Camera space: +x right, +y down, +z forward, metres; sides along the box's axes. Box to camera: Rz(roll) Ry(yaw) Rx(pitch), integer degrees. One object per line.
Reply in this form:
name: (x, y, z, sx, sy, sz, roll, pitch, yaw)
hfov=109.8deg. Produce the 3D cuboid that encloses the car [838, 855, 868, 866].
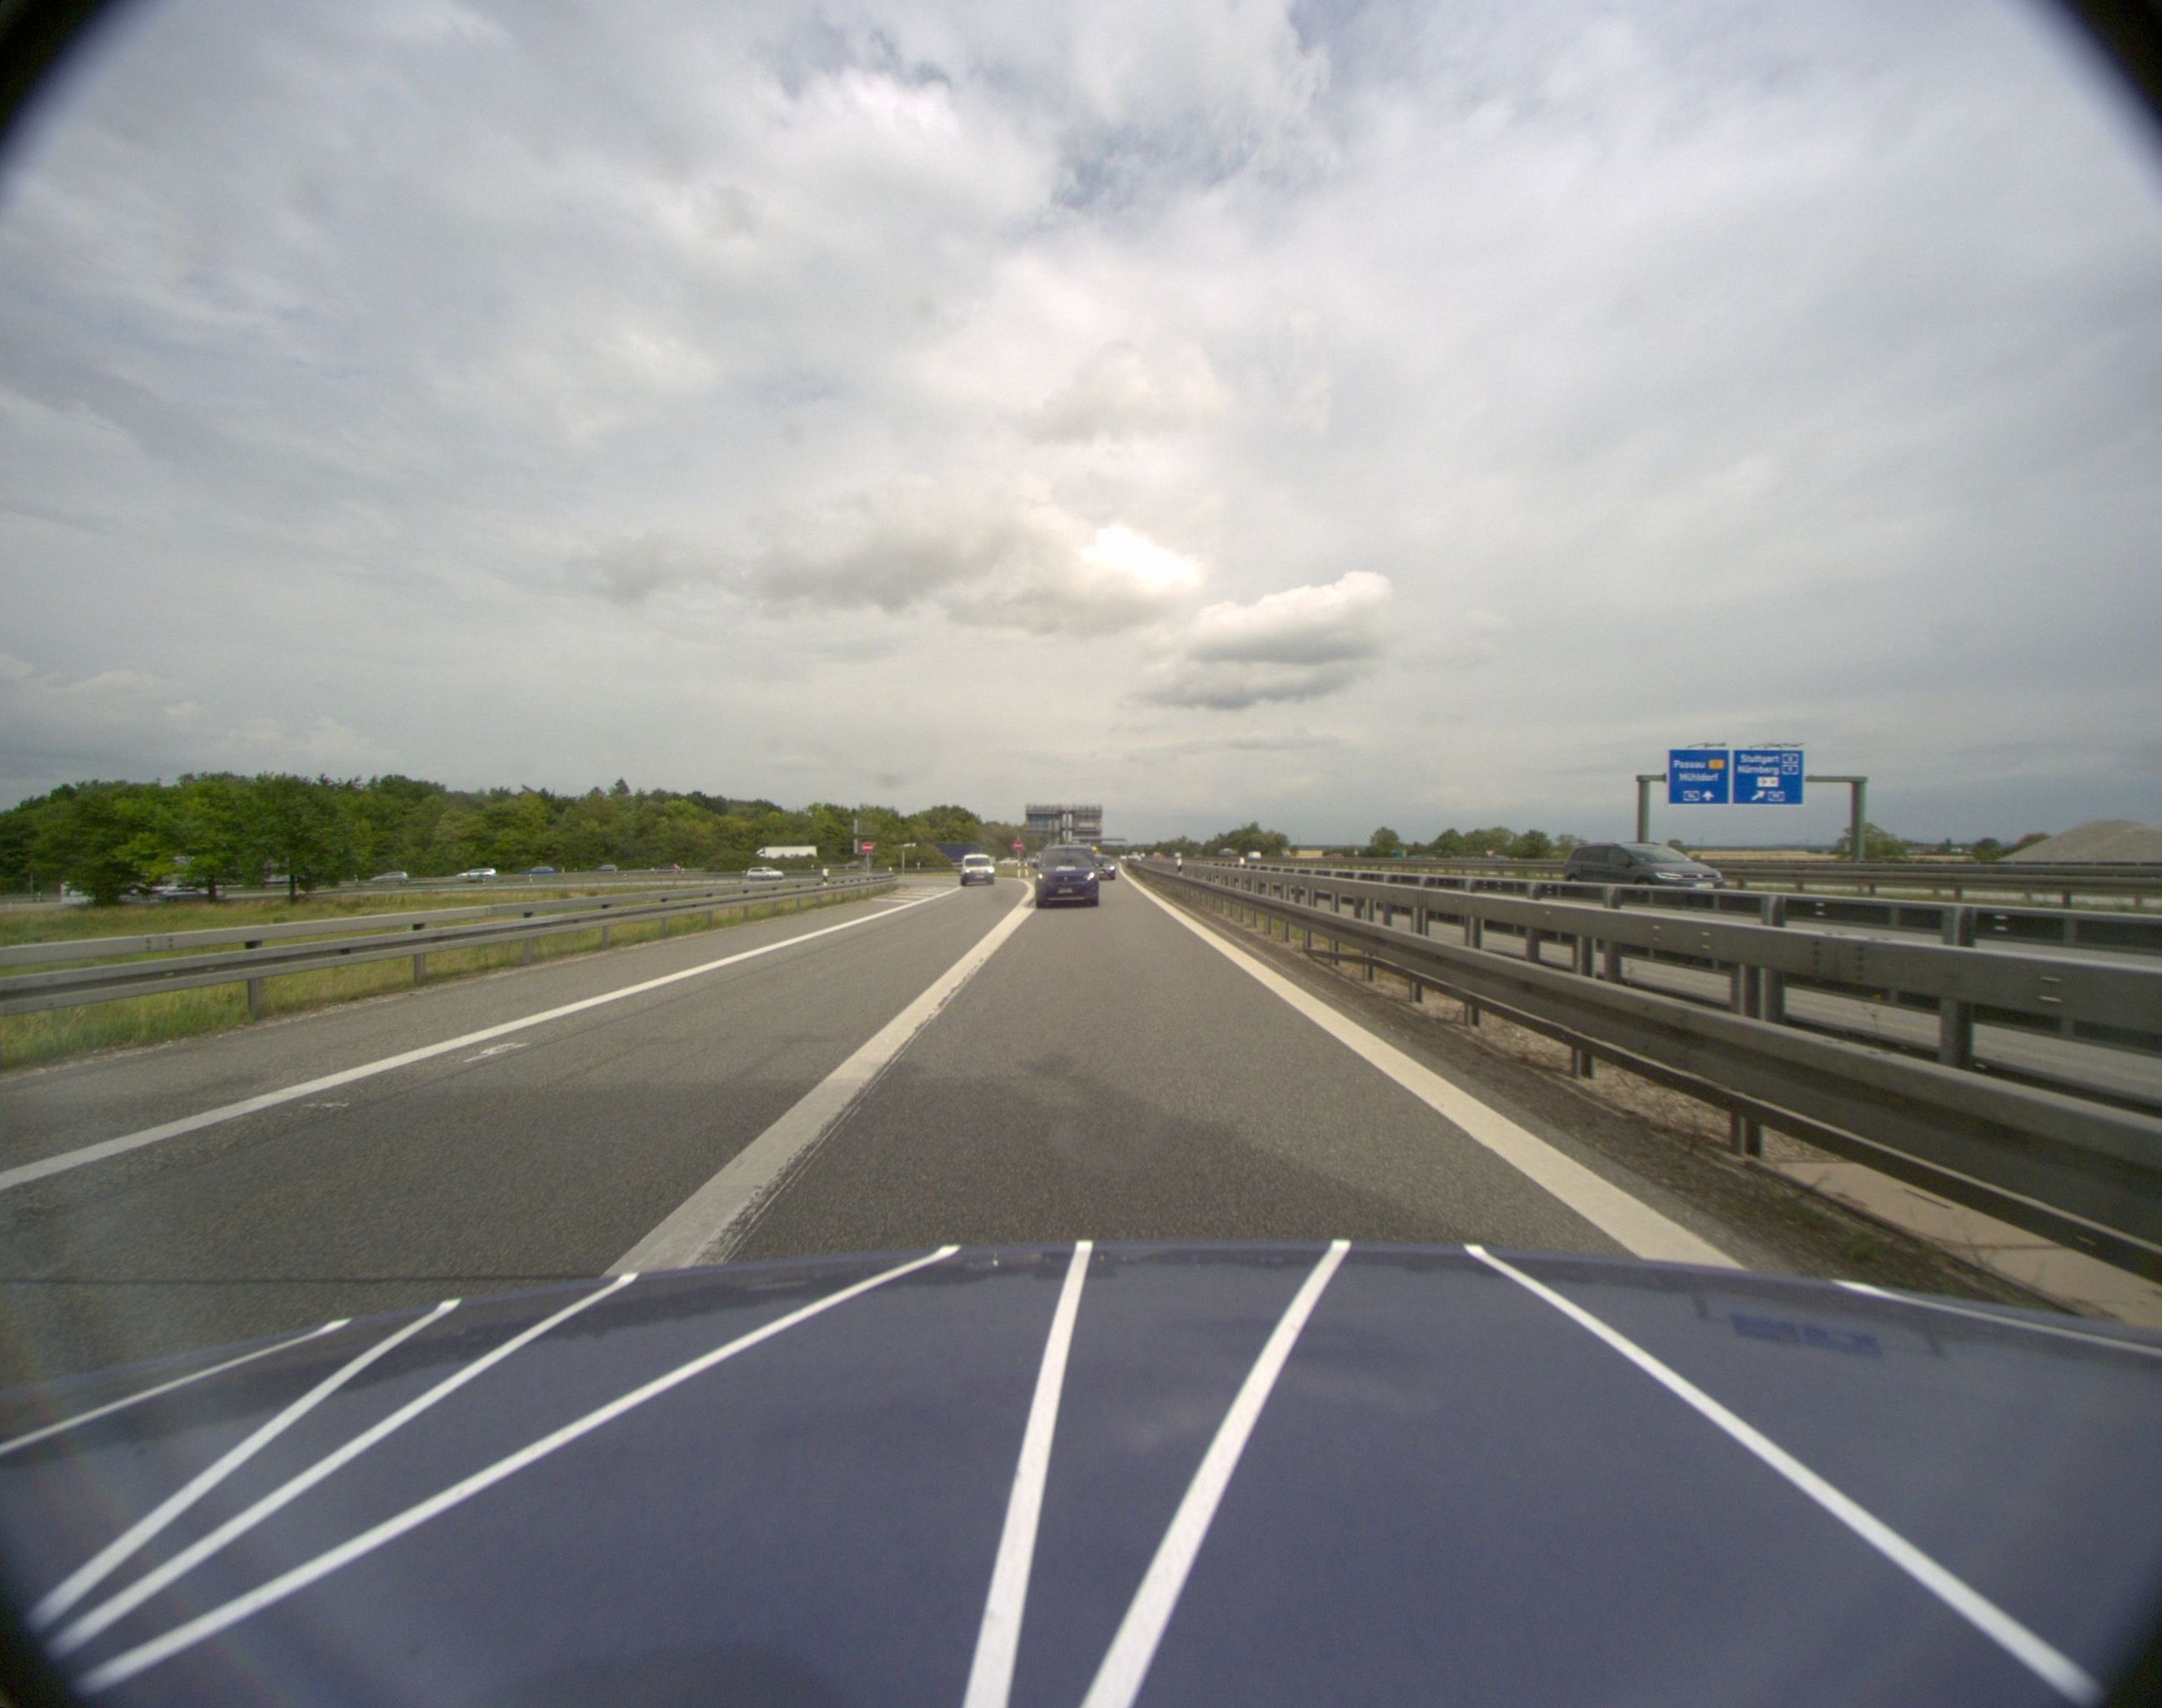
car: (-34.254, 0.978, 114.257, 4.005, 1.540, 1.734, -2, 1, -28)

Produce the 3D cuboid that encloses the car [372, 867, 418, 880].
car: (-88.007, 2.453, 97.519, 4.005, 1.471, 1.700, -3, 1, -29)

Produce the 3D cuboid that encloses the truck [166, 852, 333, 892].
truck: (-98.615, 2.067, 90.555, 13.037, 4.218, 2.688, -2, 1, -32)

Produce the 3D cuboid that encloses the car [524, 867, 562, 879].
car: (-73.581, 2.601, 103.966, 4.005, 1.485, 1.555, -2, 1, -28)

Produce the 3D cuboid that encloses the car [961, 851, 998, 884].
car: (-5.906, 0.753, 44.038, 1.863, 1.735, 3.996, -2, 1, -11)

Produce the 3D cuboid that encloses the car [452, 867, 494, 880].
car: (-80.846, 2.600, 101.051, 4.005, 1.548, 1.795, -2, 1, -27)

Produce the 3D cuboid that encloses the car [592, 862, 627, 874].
car: (-66.967, 1.989, 108.076, 4.004, 1.442, 1.555, -2, 1, -24)

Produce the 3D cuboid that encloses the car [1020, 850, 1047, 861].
car: (-9.029, 0.228, 145.391, 1.994, 2.002, 5.965, -1, 1, 33)

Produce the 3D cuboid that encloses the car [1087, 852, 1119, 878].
car: (1.264, 0.603, 45.463, 1.747, 1.381, 3.999, -1, 1, 0)

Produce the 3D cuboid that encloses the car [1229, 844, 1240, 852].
car: (40.861, -1.577, 202.751, 1.831, 1.849, 3.998, -2, 0, -4)

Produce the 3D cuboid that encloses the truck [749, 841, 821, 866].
truck: (-45.101, -0.080, 115.865, 9.887, 3.383, 2.690, -2, 1, -24)

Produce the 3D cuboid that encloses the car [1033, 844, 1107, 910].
car: (-0.292, 0.623, 23.050, 1.998, 1.783, 3.999, -2, 0, 0)

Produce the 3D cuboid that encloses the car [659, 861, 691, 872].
car: (-58.947, 1.768, 110.362, 4.004, 1.392, 1.556, -2, 1, -21)

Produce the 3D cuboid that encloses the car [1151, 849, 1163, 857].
car: (14.764, -0.185, 148.345, 1.824, 1.537, 4.353, -2, 0, -1)

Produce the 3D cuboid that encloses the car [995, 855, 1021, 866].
car: (-13.297, 1.194, 138.644, 4.506, 1.774, 1.994, -2, 1, -44)

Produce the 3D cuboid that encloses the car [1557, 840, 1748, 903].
car: (15.851, 0.427, 21.457, 1.886, 1.537, 4.614, -2, 0, 0)

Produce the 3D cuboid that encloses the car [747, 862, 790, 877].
car: (-34.960, 1.766, 84.995, 4.473, 1.532, 1.729, -2, 1, 21)

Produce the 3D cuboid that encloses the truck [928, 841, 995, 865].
truck: (-20.583, -0.234, 131.970, 11.815, 3.836, 2.839, -2, 1, -44)

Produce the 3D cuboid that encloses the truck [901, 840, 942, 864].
truck: (-26.440, -0.308, 126.388, 5.940, 3.780, 2.894, -2, 0, -44)

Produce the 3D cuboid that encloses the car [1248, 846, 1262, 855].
car: (41.122, -0.853, 179.239, 2.107, 1.849, 4.749, -2, 0, -1)

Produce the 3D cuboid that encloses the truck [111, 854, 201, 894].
truck: (-105.028, 2.245, 86.407, 5.806, 4.155, 2.687, -3, 1, -32)
